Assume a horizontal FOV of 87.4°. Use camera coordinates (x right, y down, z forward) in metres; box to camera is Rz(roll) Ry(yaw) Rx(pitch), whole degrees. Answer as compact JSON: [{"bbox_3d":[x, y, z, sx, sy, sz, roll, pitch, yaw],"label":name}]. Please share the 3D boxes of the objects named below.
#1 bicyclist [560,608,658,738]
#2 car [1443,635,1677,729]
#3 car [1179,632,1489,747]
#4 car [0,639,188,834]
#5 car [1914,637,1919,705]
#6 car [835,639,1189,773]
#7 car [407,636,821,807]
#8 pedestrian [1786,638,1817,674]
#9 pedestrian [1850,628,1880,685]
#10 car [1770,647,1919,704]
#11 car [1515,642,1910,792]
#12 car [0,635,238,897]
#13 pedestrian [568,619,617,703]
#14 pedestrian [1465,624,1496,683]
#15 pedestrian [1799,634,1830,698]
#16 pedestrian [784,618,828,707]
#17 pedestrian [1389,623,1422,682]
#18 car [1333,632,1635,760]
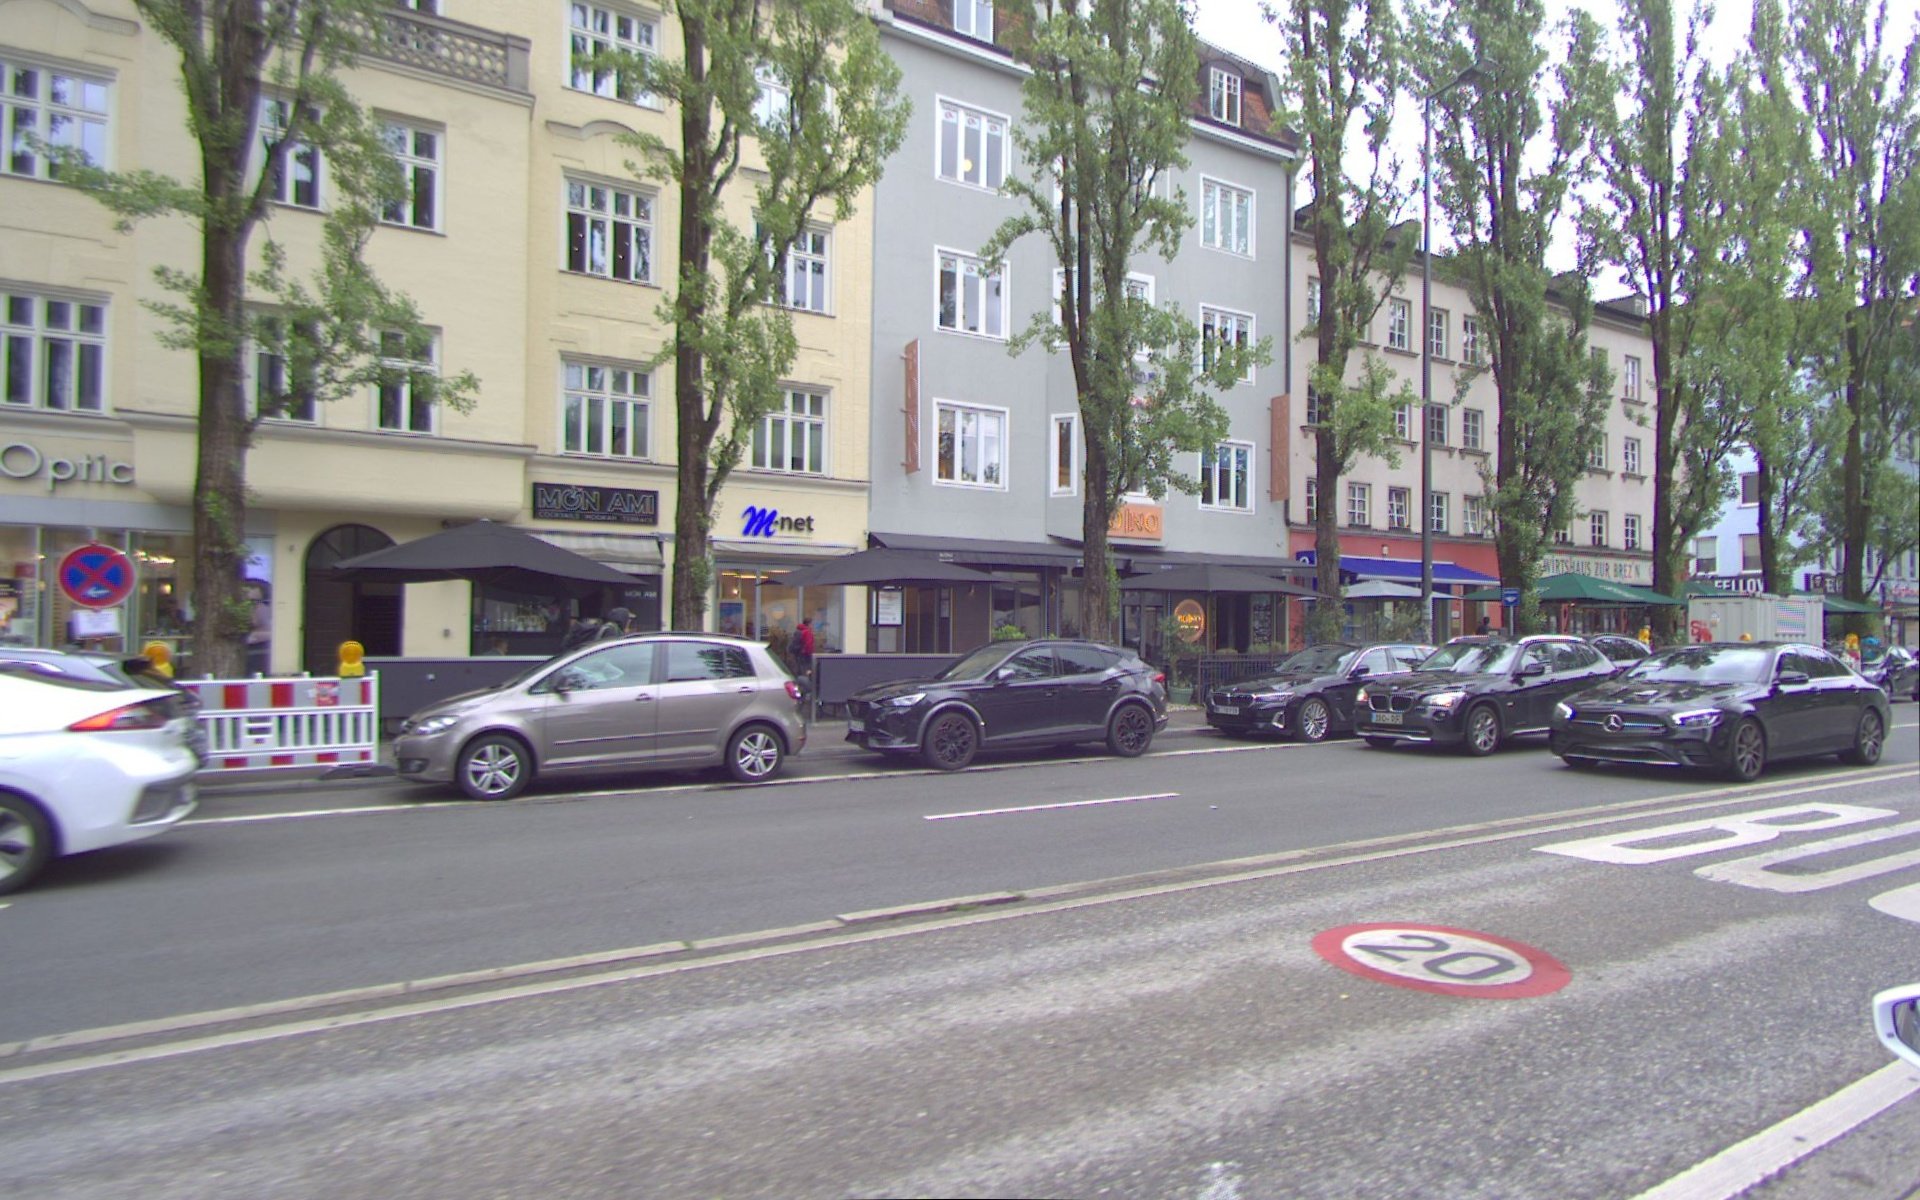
[{"bbox_3d":[-4.469,0.913,12.805,1.094,1.601,0.494,1,-2,-30],"label":"bicyclist"},{"bbox_3d":[11.372,1.467,19.012,4.278,1.585,1.842,1,-2,-28],"label":"car"},{"bbox_3d":[6.089,1.349,16.259,4.829,1.617,1.986,1,-3,-28],"label":"car"},{"bbox_3d":[-9.057,1.075,8.067,4.244,1.513,1.931,1,-3,-30],"label":"car"},{"bbox_3d":[24.025,1.652,23.187,3.952,1.552,1.818,2,-3,-29],"label":"car"},{"bbox_3d":[0.698,1.281,13.225,4.266,1.502,1.986,1,-3,-28],"label":"car"},{"bbox_3d":[-3.666,1.173,10.825,3.950,1.539,1.798,1,-3,-28],"label":"car"},{"bbox_3d":[37.113,2.445,44.296,0.887,1.562,0.791,1,-2,-29],"label":"pedestrian"},{"bbox_3d":[29.390,1.818,32.635,0.824,1.811,0.658,2,-1,-44],"label":"pedestrian"},{"bbox_3d":[22.020,1.821,24.909,3.656,1.267,1.802,1,-2,-30],"label":"car"},{"bbox_3d":[8.929,1.239,11.848,4.714,1.450,1.985,1,-3,-29],"label":"car"},{"bbox_3d":[-7.070,0.970,6.033,4.247,1.513,1.930,1,-3,-32],"label":"car"},{"bbox_3d":[-7.084,1.155,19.365,0.805,1.582,0.631,1,-2,-27],"label":"pedestrian"},{"bbox_3d":[16.750,1.714,32.328,0.640,1.886,0.635,1,-2,-29],"label":"pedestrian"},{"bbox_3d":[23.206,1.785,27.280,0.568,1.724,0.478,1,-2,-29],"label":"pedestrian"},{"bbox_3d":[-3.155,1.267,20.574,0.746,1.770,0.536,1,-1,-29],"label":"pedestrian"},{"bbox_3d":[13.317,1.558,30.034,0.640,1.722,0.635,1,-2,-29],"label":"pedestrian"},{"bbox_3d":[7.458,1.291,14.245,4.161,1.585,1.841,2,-3,-29],"label":"car"}]
